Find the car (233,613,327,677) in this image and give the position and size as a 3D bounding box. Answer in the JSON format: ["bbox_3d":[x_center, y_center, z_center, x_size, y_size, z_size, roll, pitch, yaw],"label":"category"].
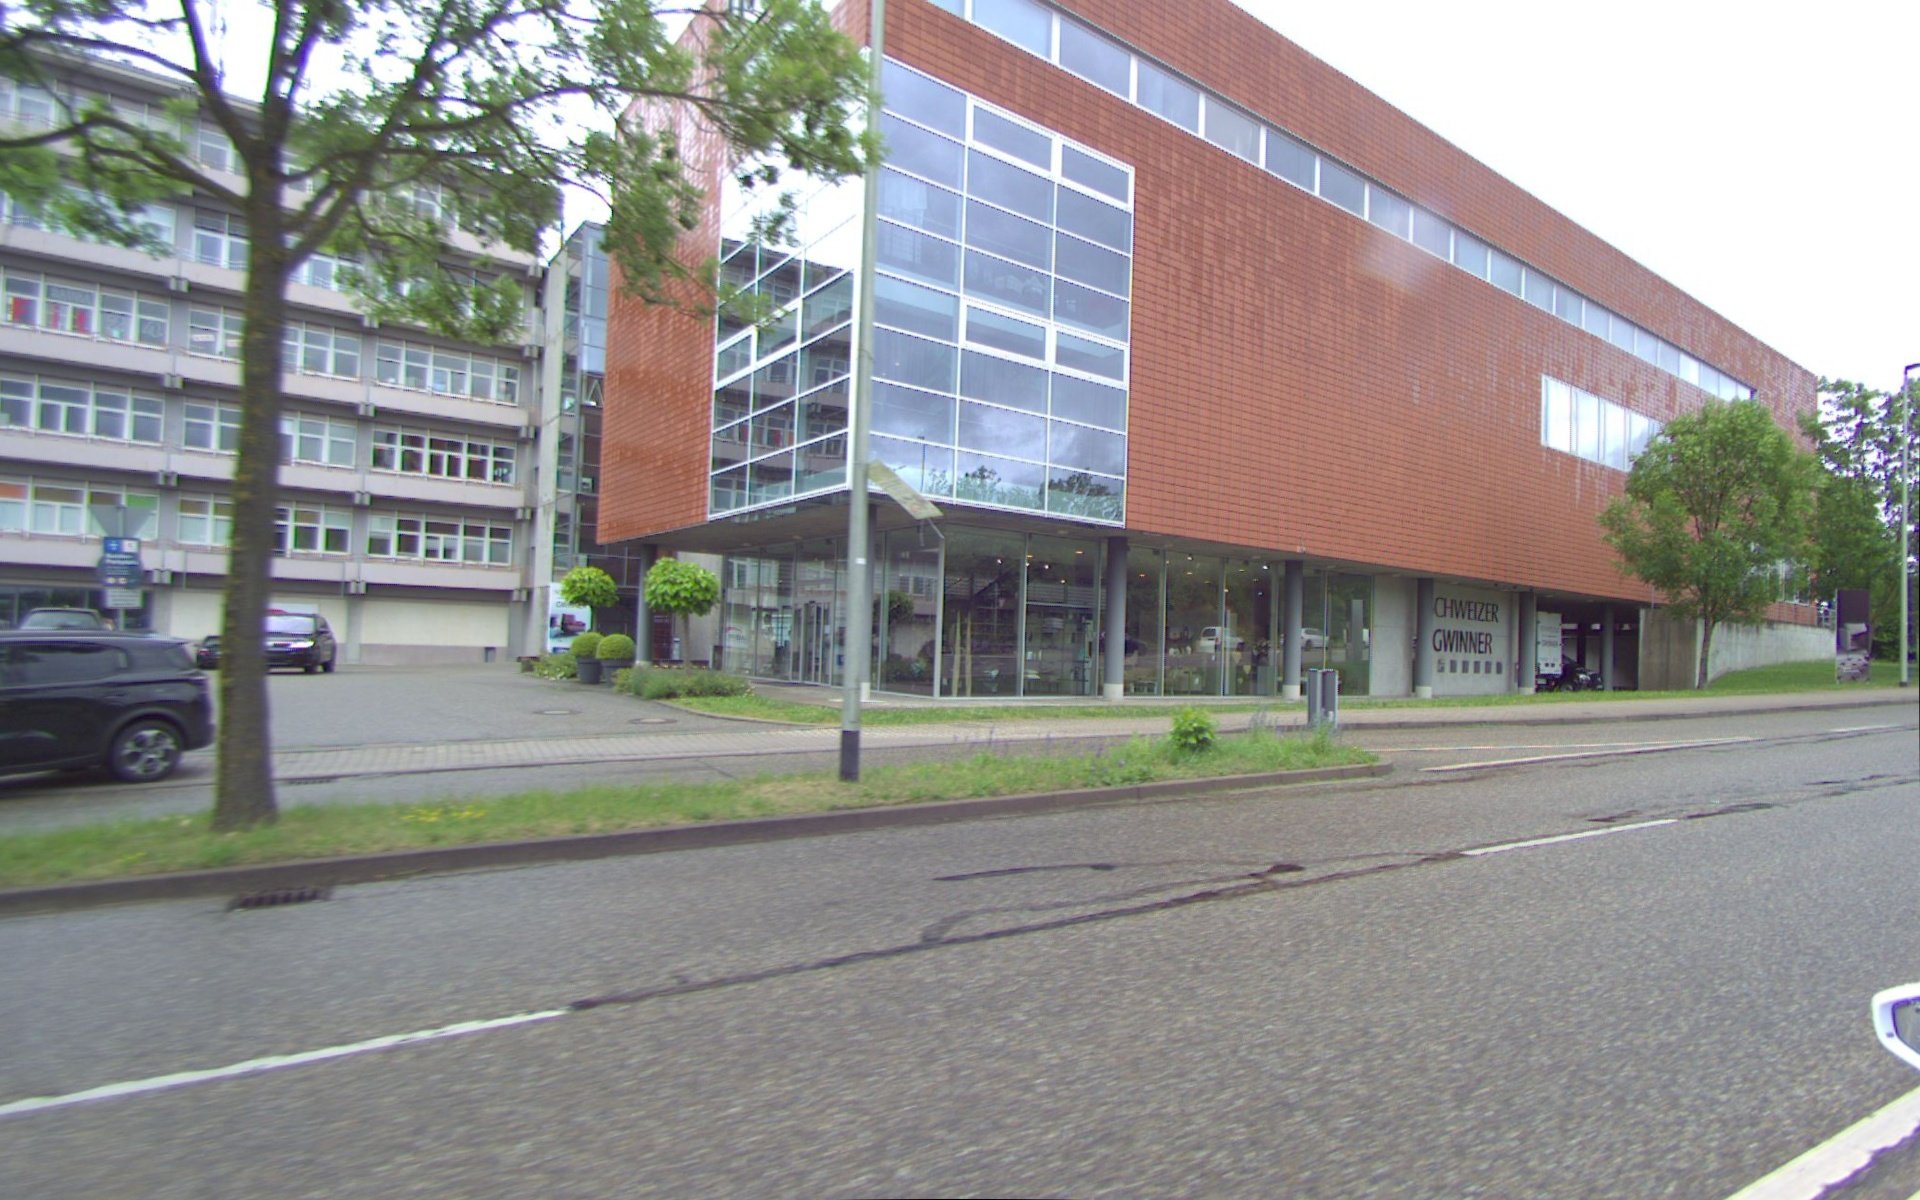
[{"bbox_3d":[-18.548,1.163,27.323,1.884,1.530,4.159,0,0,-38],"label":"car"}]

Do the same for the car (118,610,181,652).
[{"bbox_3d":[-32.607,1.210,40.469,1.783,1.530,3.958,0,0,-36],"label":"car"}]

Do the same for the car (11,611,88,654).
[{"bbox_3d":[-35.054,1.203,38.765,1.783,1.530,3.958,0,0,-36],"label":"car"}]

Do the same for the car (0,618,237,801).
[{"bbox_3d":[-9.983,1.054,9.941,1.765,1.705,4.281,1,0,23],"label":"car"}]

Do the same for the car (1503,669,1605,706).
[{"bbox_3d":[25.603,3.747,43.397,1.501,1.301,3.523,2,0,-27],"label":"car"}]

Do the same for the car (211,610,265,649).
[{"bbox_3d":[-30.620,1.206,42.596,1.783,1.530,3.958,0,0,-36],"label":"car"}]

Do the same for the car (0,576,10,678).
[{"bbox_3d":[-18.638,0.474,16.138,4.557,1.797,2.126,0,0,-33],"label":"car"}]

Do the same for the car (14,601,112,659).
[{"bbox_3d":[-25.812,0.806,29.025,1.803,1.530,4.159,0,0,-38],"label":"car"}]

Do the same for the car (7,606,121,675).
[{"bbox_3d":[-22.070,0.924,24.883,1.803,1.530,4.159,0,0,-38],"label":"car"}]
